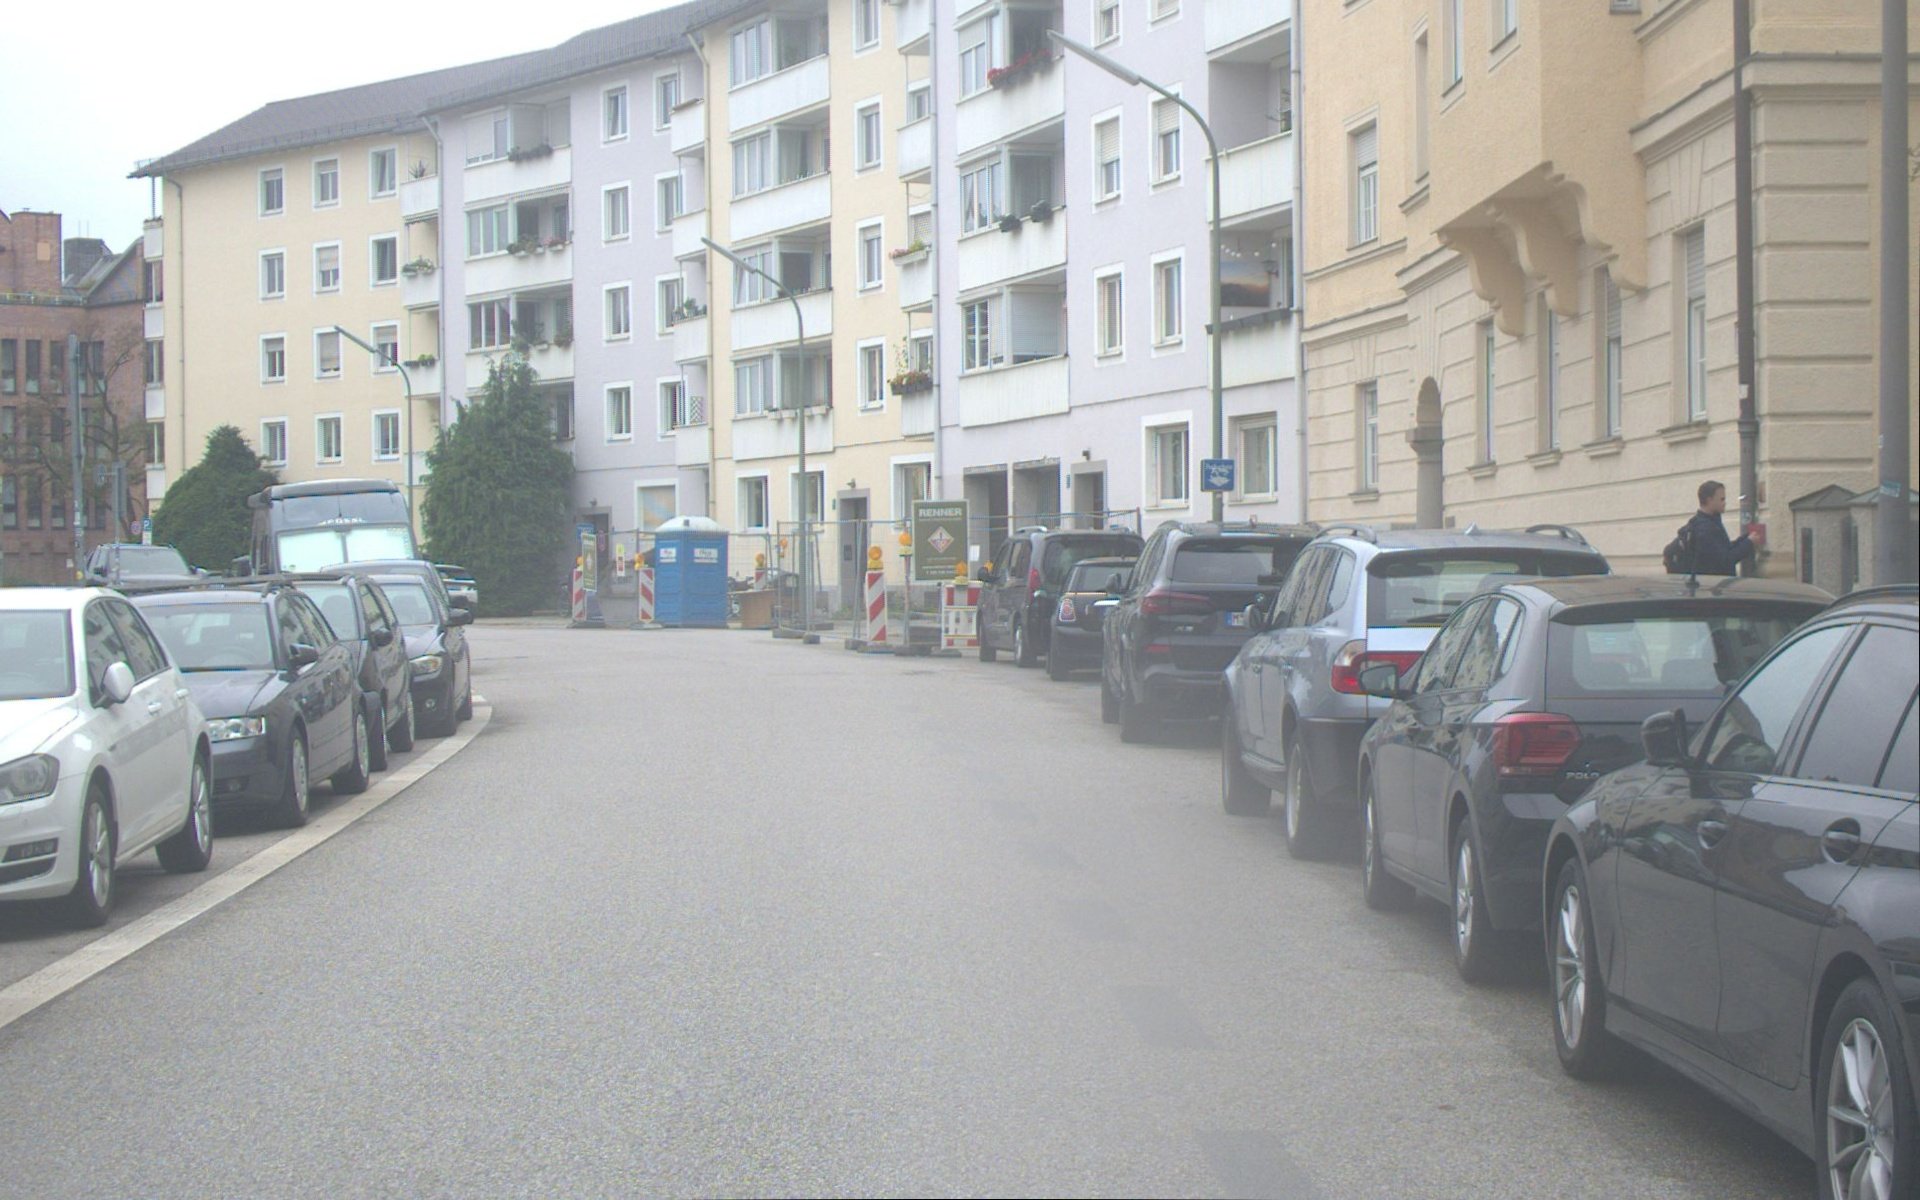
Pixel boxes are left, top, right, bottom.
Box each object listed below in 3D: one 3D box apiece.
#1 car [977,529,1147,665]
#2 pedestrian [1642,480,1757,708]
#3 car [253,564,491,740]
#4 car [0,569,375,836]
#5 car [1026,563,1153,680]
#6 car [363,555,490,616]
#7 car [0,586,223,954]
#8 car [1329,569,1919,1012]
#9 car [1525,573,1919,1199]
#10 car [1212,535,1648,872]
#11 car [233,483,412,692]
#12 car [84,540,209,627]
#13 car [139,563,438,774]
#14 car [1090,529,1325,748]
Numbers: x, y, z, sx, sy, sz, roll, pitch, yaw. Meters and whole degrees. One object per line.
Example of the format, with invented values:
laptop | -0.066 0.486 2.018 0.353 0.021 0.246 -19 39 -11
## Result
car | 1.298 -0.068 45.034 1.601 1.709 3.090 1 1 -10
pedestrian | 5.598 -0.048 26.040 0.667 1.687 0.690 2 0 -1
car | -5.154 0.415 30.526 1.623 1.414 3.648 -2 1 -3
car | -4.643 0.548 20.967 1.623 1.414 3.982 -2 1 -3
car | 1.474 0.225 39.829 1.272 1.294 2.798 0 1 -2
car | -14.050 -0.397 90.461 1.696 1.553 3.582 -1 1 -40
car | -4.459 0.681 15.506 1.623 1.414 3.982 -2 1 -4
car | 2.502 0.621 13.391 1.590 1.427 3.826 1 1 -2
car | 2.579 0.686 8.217 1.590 1.427 4.421 1 1 -2
car | 2.378 0.450 18.392 1.590 1.577 4.299 1 1 -2
car | -8.536 -0.193 45.809 1.770 2.645 4.001 0 1 -19
car | -16.126 -0.345 68.097 1.599 1.643 3.141 2 0 -28
car | -4.971 0.454 25.895 1.623 1.414 3.982 -2 1 -3
car | 1.949 0.254 27.973 1.474 1.635 4.001 1 1 -2
